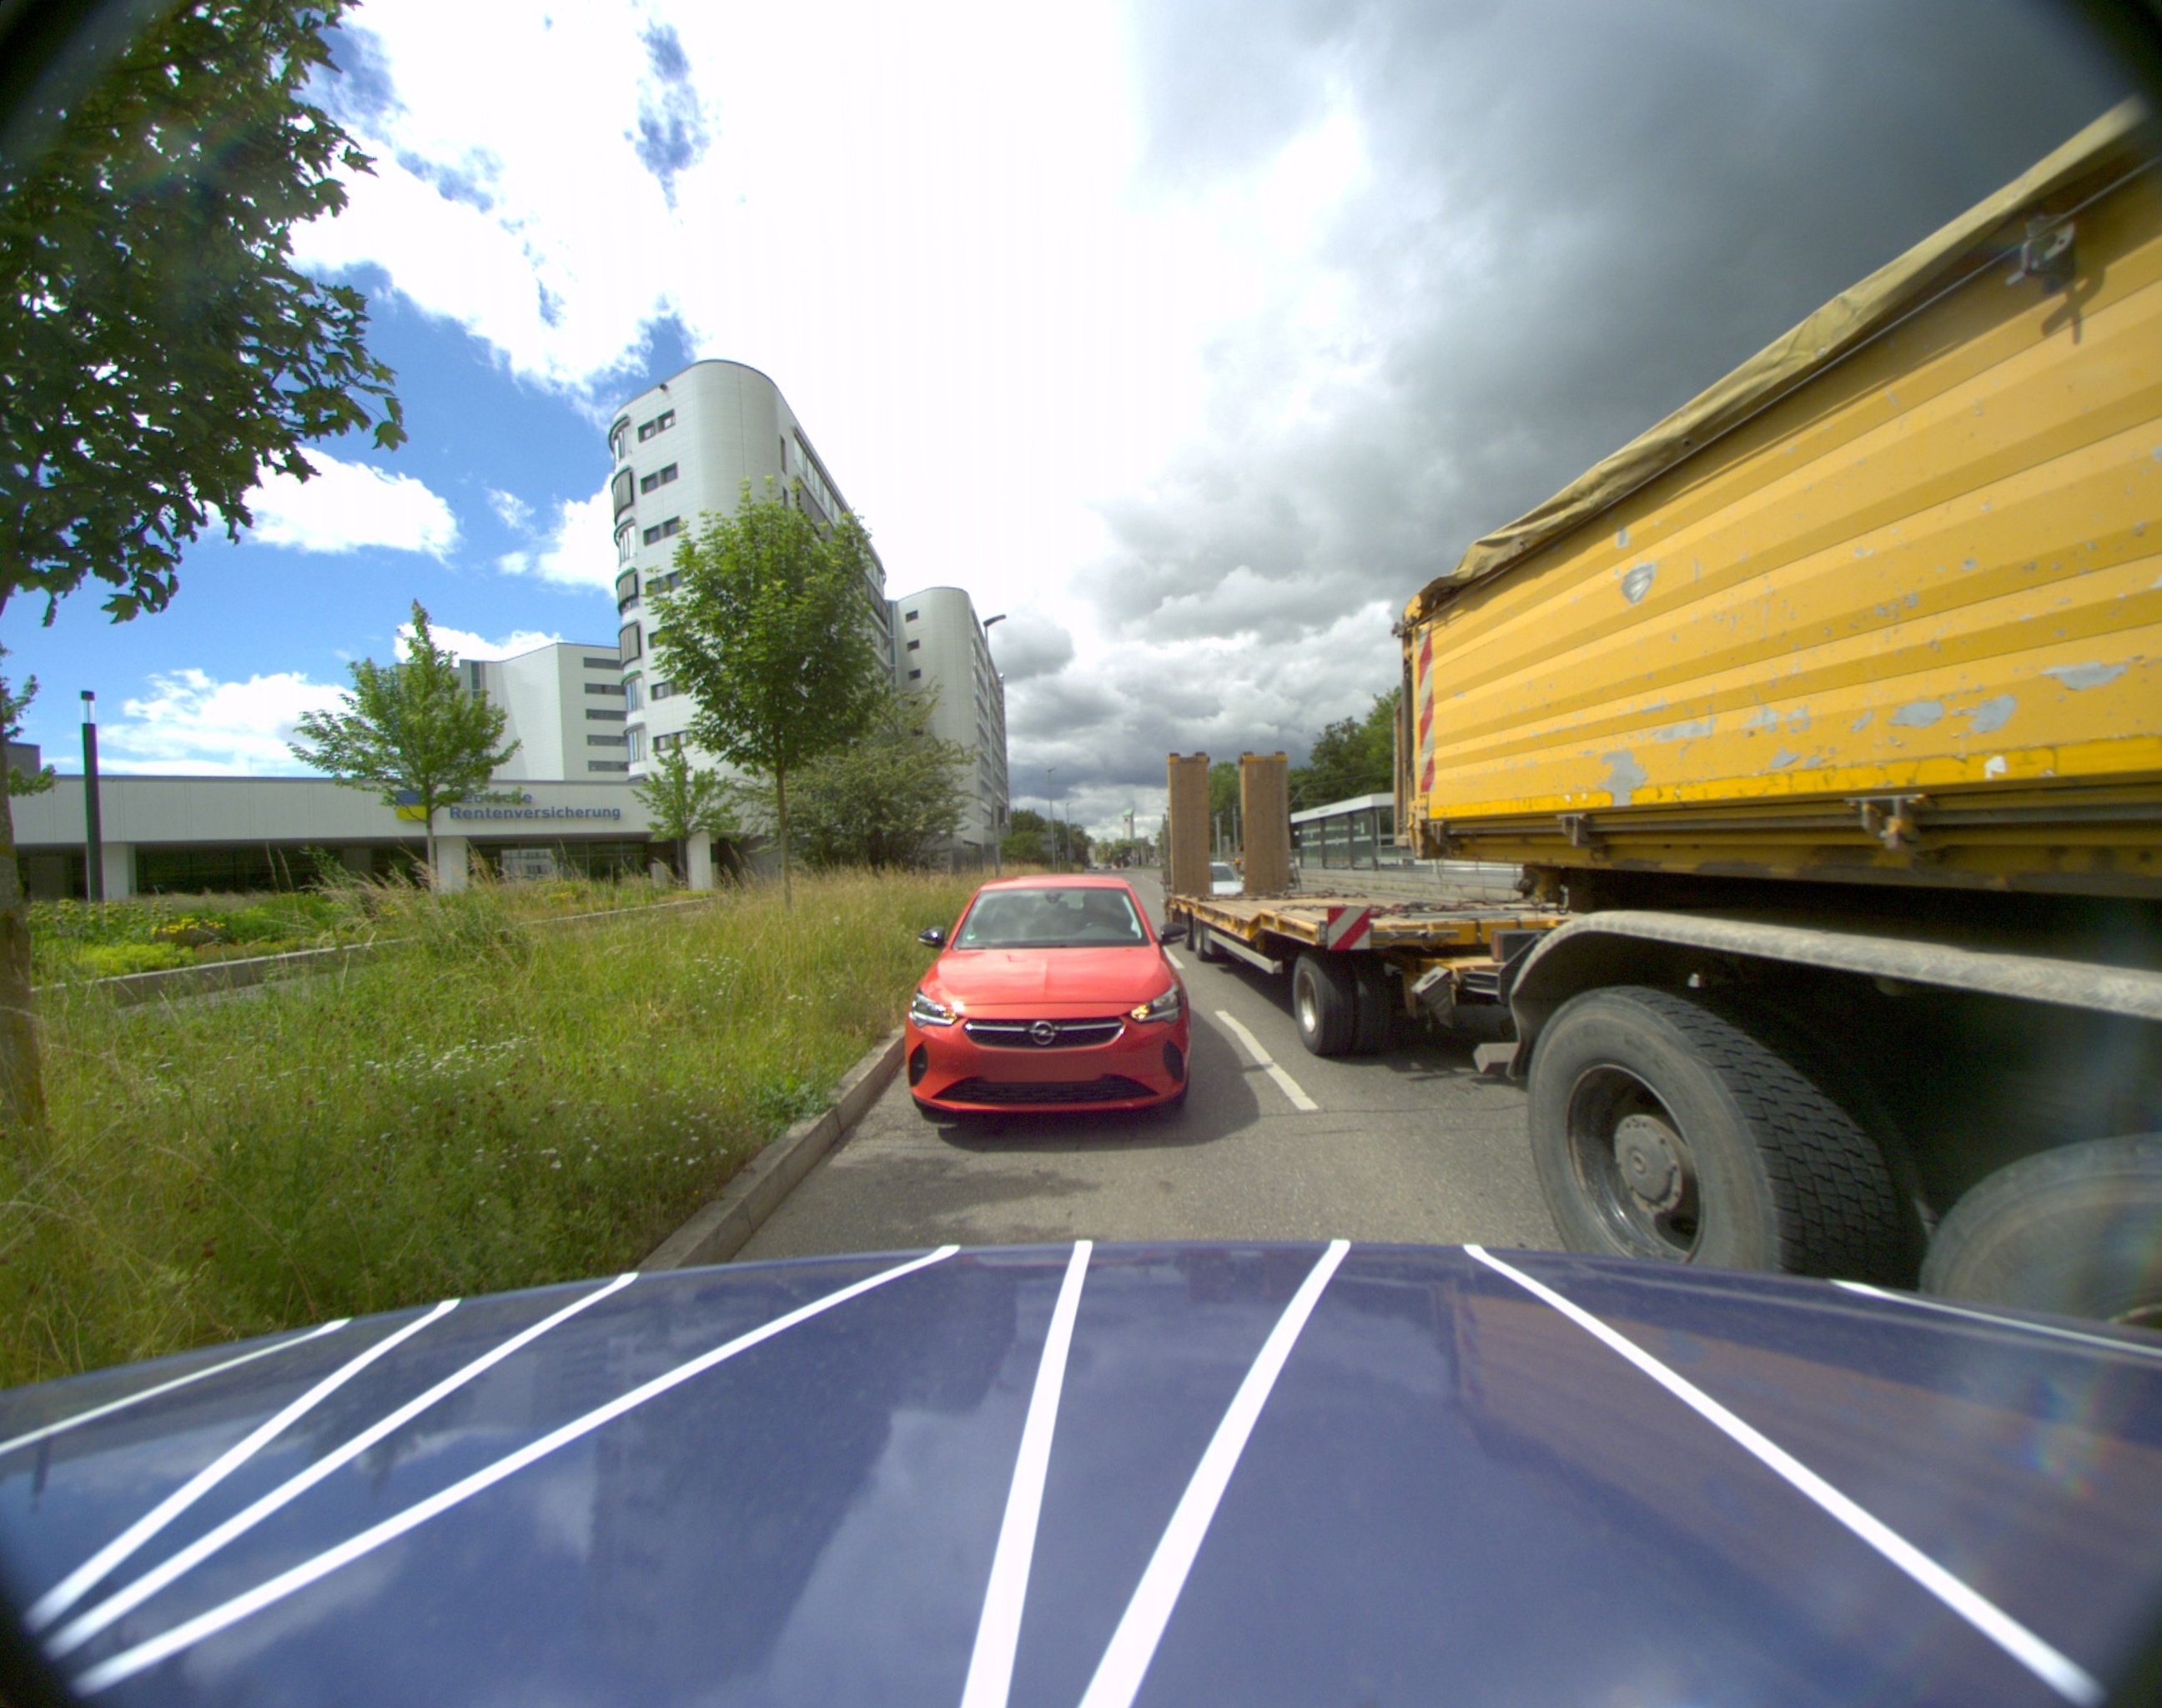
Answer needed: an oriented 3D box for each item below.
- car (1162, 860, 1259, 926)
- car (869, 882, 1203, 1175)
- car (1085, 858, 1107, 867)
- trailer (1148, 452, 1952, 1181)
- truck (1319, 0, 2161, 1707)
[{"bbox_3d":[3.125,0.899,19.023,1.784,1.408,3.785,-2,0,1],"label":"car"},{"bbox_3d":[-0.206,0.993,5.855,1.749,1.408,3.676,-1,0,1],"label":"car"},{"bbox_3d":[3.038,1.769,158.547,3.990,1.838,2.101,-2,1,27],"label":"car"},{"bbox_3d":[2.933,-0.169,9.425,3.057,3.676,10.965,-2,0,0],"label":"trailer"},{"bbox_3d":[2.897,-0.057,0.125,3.057,3.374,8.006,-2,0,0],"label":"truck"}]
